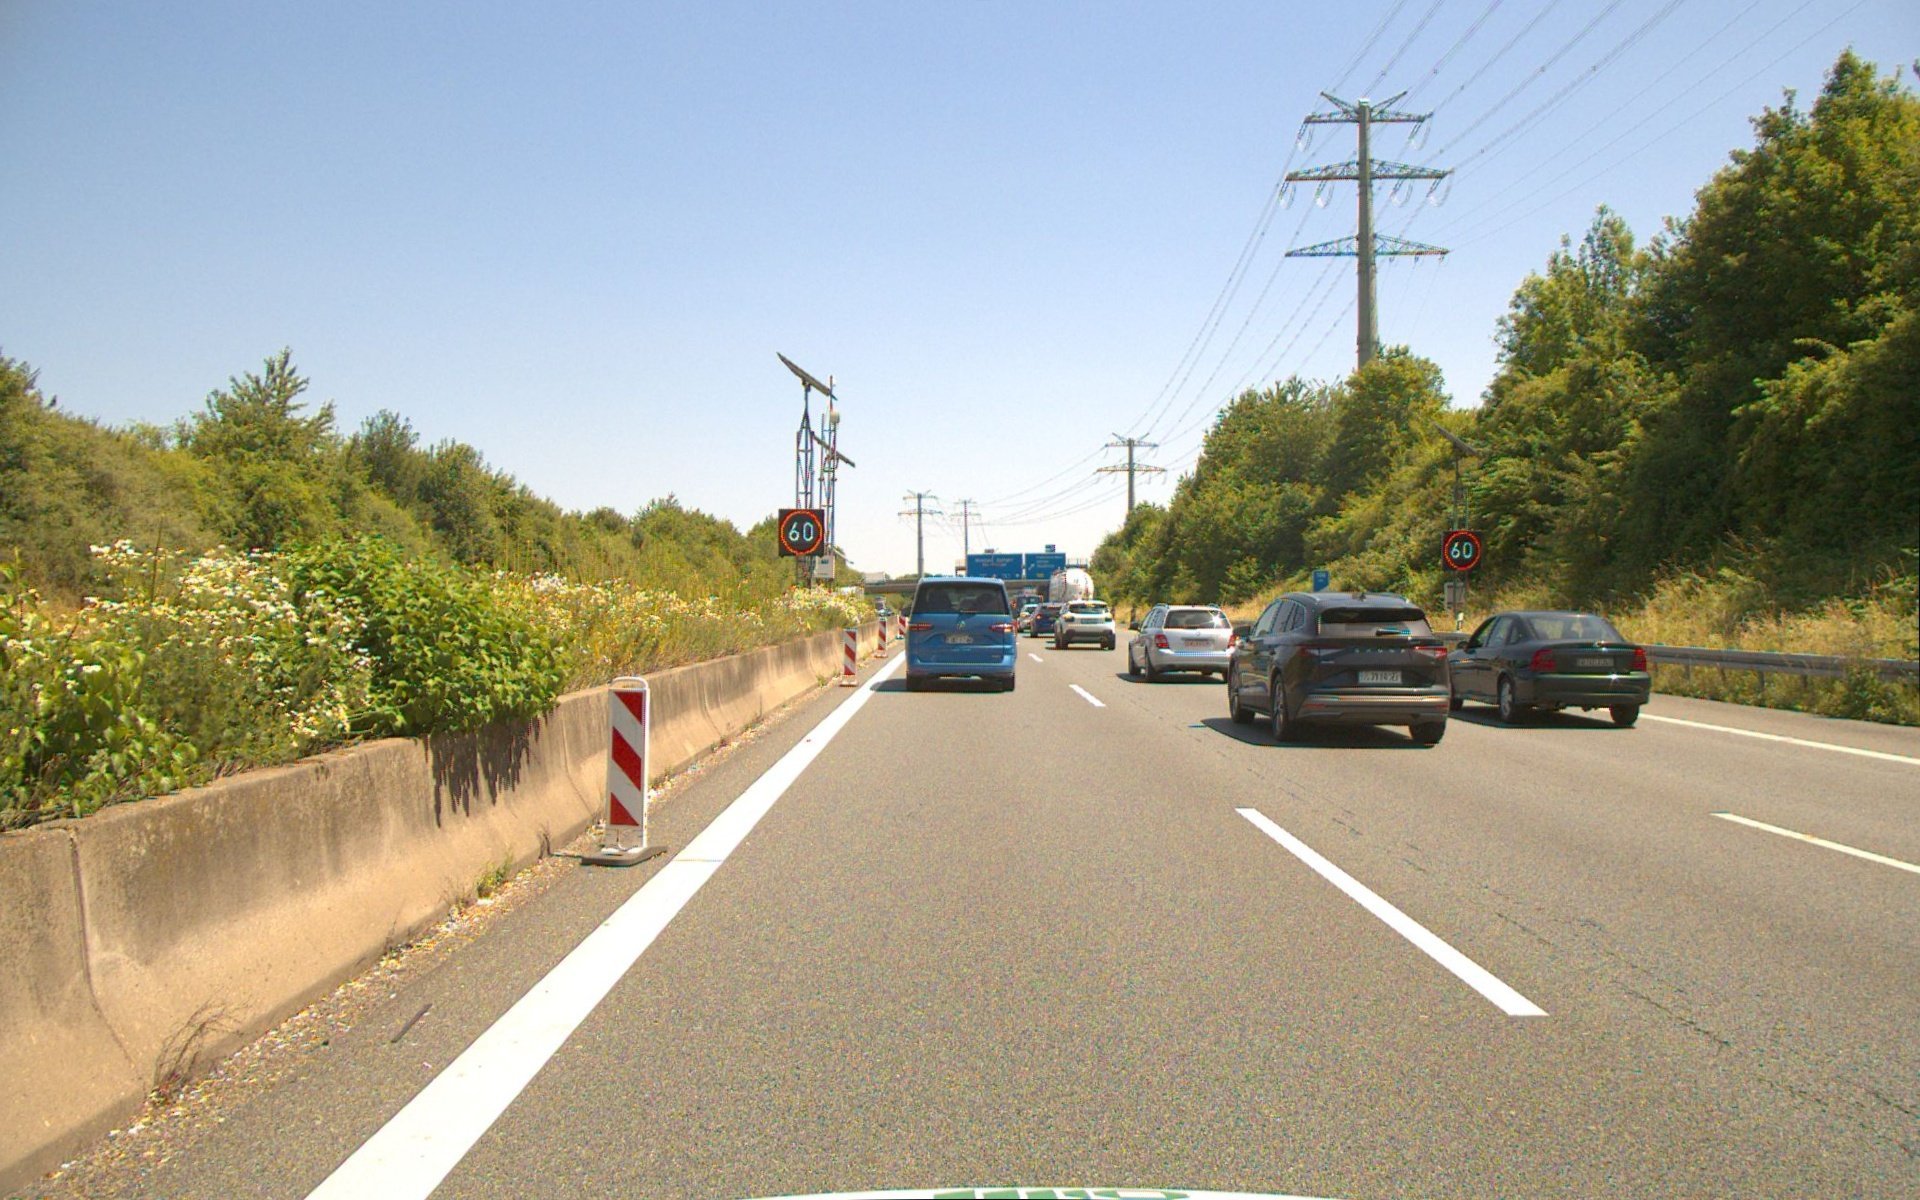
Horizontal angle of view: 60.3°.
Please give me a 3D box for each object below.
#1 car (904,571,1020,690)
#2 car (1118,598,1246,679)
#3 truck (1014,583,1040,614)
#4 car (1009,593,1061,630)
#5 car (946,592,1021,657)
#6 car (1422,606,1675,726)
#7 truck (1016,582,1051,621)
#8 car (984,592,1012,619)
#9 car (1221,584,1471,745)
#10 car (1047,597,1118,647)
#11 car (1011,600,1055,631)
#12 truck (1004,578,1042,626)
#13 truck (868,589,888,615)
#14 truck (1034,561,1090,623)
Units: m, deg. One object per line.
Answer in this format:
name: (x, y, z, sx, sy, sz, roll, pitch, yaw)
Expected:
car: (-0.036, 0.492, 29.162, 1.833, 1.912, 4.381, 1, 0, -2)
car: (4.300, 0.707, 32.694, 1.784, 1.462, 4.382, 1, 0, -2)
truck: (9.531, -0.219, 235.703, 2.878, 4.366, 12.548, 1, 0, -1)
car: (3.198, 0.486, 71.483, 1.870, 1.542, 4.382, 1, 0, -2)
car: (0.579, 0.629, 44.238, 1.870, 1.659, 4.382, 0, 0, -1)
car: (7.691, 0.800, 22.064, 1.699, 1.402, 4.300, 1, 0, -2)
truck: (7.127, 0.170, 161.654, 2.591, 3.600, 12.548, 1, 0, -1)
car: (2.890, 0.439, 127.635, 1.953, 2.049, 3.999, 1, 0, -1)
car: (4.321, 0.656, 19.224, 1.791, 1.642, 4.430, 0, 0, -1)
car: (3.929, 0.691, 53.807, 1.870, 1.534, 3.920, 1, 0, -2)
car: (3.719, 0.769, 84.615, 1.870, 1.542, 4.382, 1, 0, -2)
truck: (3.764, 0.108, 99.390, 1.953, 2.771, 5.678, 1, 0, -1)
truck: (-12.823, 0.343, 259.927, 2.706, 3.956, 9.028, -2, 0, -1)
truck: (7.213, -0.528, 119.223, 2.591, 4.143, 16.436, 1, 0, -1)
